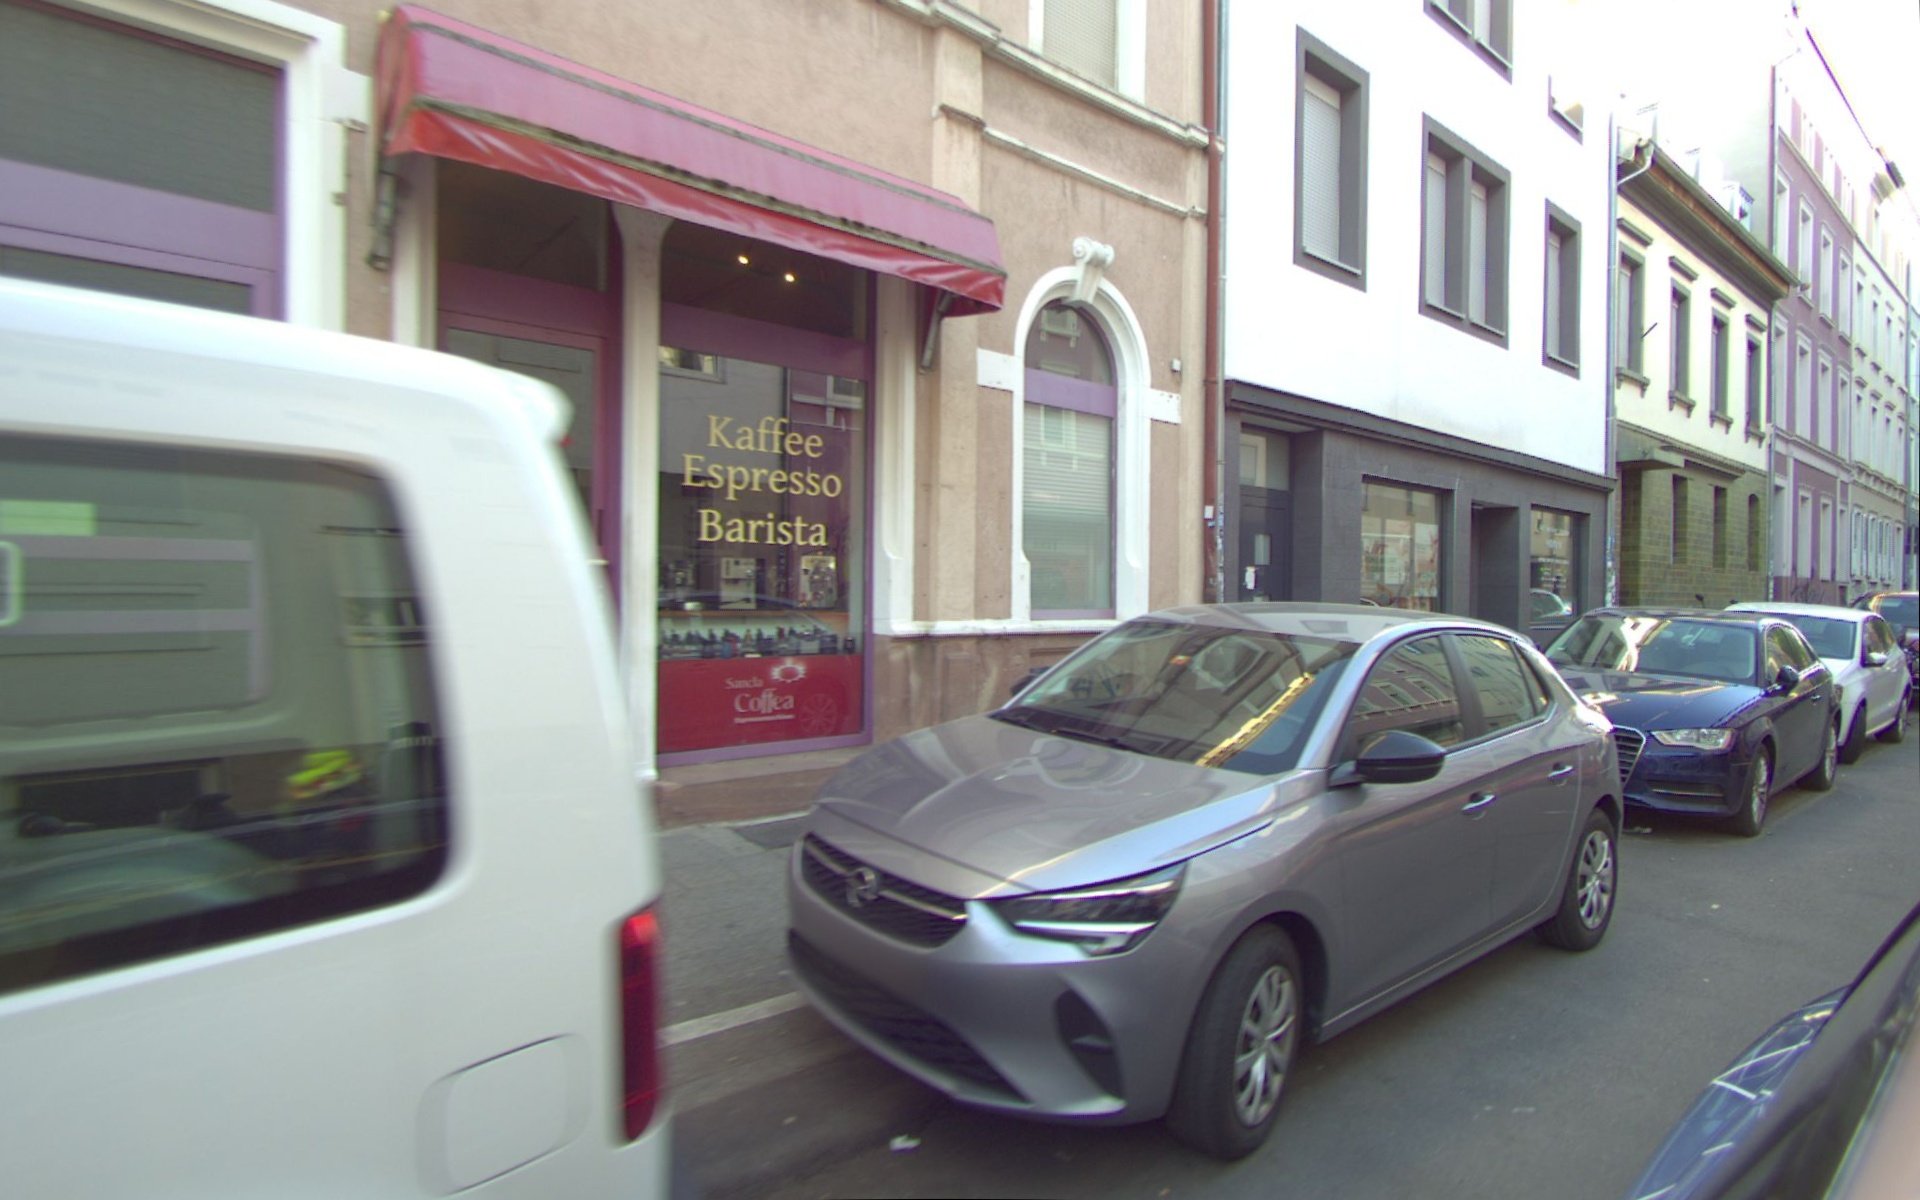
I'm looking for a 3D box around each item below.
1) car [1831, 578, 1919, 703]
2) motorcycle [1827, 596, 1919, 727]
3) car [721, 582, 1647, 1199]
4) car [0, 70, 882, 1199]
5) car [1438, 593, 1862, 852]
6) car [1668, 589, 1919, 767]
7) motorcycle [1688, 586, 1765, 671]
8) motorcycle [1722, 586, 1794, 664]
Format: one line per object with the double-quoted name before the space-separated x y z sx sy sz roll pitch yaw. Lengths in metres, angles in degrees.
"car" 15.185 0.563 15.818 4.331 1.752 1.713 -1 3 -41
"motorcycle" 12.004 0.725 12.975 2.228 1.508 0.990 -1 2 -41
"car" 1.169 0.671 4.014 3.814 1.425 1.612 -1 3 -41
"car" -2.302 0.489 0.620 4.293 1.839 1.752 -1 2 -41
"car" 5.411 0.696 7.759 3.814 1.413 1.735 -1 3 -41
"car" 9.123 0.681 10.850 3.706 1.522 1.619 -1 3 -41
"motorcycle" 13.553 0.467 17.881 2.002 1.414 0.666 -1 0 -41
"motorcycle" 15.222 0.446 19.295 2.002 1.414 0.696 -1 0 -41
